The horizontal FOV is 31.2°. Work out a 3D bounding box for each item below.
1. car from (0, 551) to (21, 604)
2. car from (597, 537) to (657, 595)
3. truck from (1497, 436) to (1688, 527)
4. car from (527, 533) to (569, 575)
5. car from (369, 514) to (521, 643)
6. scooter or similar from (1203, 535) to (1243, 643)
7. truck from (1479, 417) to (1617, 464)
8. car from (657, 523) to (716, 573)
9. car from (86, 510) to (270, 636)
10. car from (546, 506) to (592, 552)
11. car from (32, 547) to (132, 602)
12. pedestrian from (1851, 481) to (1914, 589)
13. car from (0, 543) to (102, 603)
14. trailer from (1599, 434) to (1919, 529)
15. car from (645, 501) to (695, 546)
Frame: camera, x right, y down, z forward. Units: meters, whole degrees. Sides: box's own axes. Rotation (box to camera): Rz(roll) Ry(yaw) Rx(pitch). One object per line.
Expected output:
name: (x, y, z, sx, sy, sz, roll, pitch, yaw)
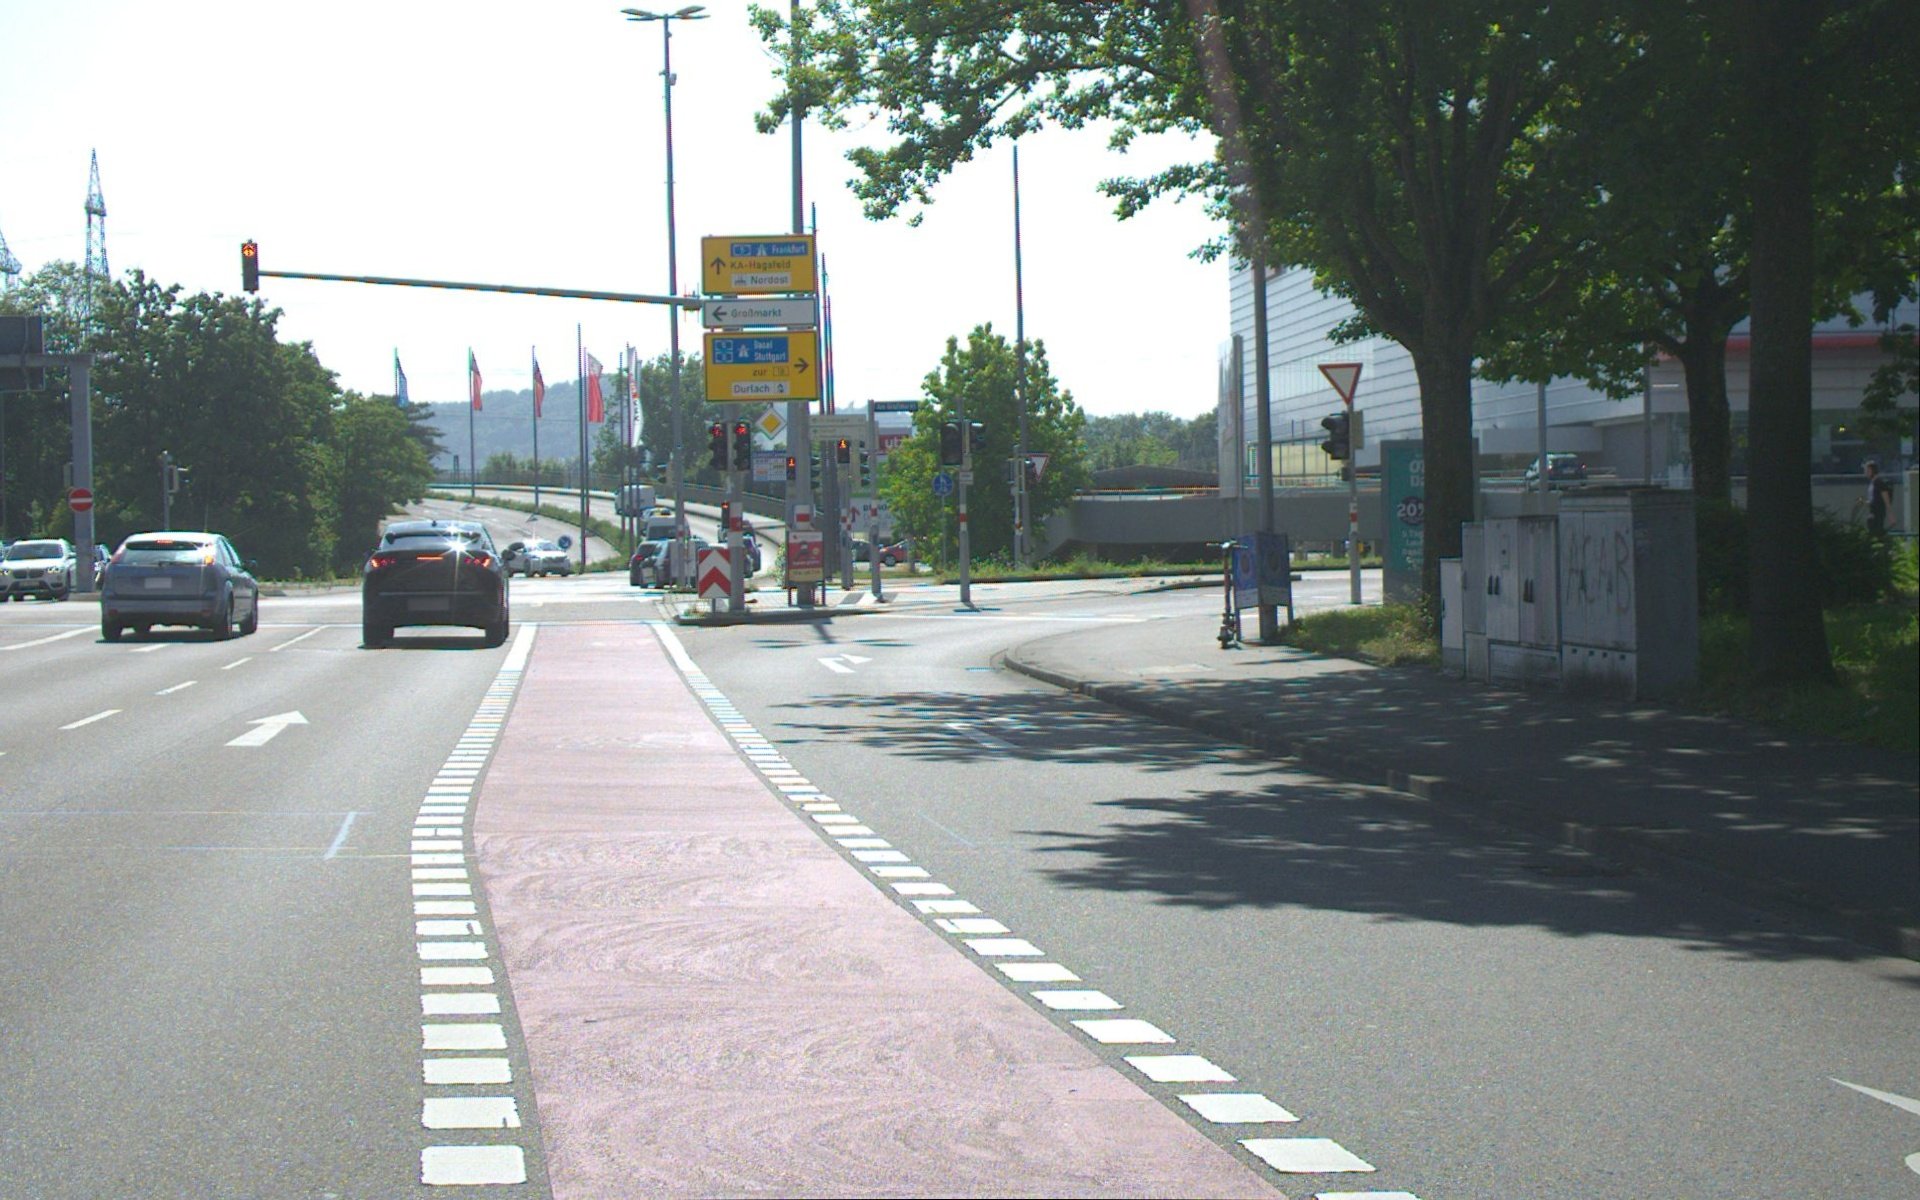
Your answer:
car: (-27.576, -0.608, 95.692, 1.815, 1.459, 4.000, -2, 1, -1)
car: (-10.986, -1.142, 113.296, 1.757, 1.752, 3.604, 1, 2, -9)
truck: (17.591, -3.302, 95.704, 4.880, 2.415, 2.000, 1, 2, 0)
car: (-18.009, -2.015, 150.128, 1.759, 1.787, 3.348, -1, 1, -7)
car: (-6.991, -0.327, 47.008, 1.807, 1.634, 4.460, -2, 1, -6)
scooter or similar: (3.086, -0.138, 40.314, 0.351, 1.229, 1.311, -1, 1, 8)
truck: (27.046, -7.339, 158.343, 5.909, 2.006, 2.000, 1, 2, -3)
car: (-8.129, -1.569, 102.486, 1.688, 1.354, 4.001, 1, 2, -4)
car: (-11.102, -0.409, 49.029, 1.993, 1.678, 4.001, -1, 1, -5)
car: (-18.003, -3.285, 158.284, 1.993, 2.006, 3.982, 1, 2, -5)
car: (-24.645, -0.733, 96.643, 1.815, 1.459, 4.000, -2, 1, -1)
pedestrian: (15.237, -1.071, 56.793, 0.627, 1.764, 0.805, -2, 1, -16)
car: (-23.773, -0.726, 89.718, 1.815, 1.459, 4.000, -2, 1, -1)
trailer: (23.918, -3.265, 95.645, 11.871, 2.460, 2.000, 1, 2, 0)
car: (-13.438, -3.552, 159.334, 1.993, 2.006, 4.001, 1, 2, -1)
